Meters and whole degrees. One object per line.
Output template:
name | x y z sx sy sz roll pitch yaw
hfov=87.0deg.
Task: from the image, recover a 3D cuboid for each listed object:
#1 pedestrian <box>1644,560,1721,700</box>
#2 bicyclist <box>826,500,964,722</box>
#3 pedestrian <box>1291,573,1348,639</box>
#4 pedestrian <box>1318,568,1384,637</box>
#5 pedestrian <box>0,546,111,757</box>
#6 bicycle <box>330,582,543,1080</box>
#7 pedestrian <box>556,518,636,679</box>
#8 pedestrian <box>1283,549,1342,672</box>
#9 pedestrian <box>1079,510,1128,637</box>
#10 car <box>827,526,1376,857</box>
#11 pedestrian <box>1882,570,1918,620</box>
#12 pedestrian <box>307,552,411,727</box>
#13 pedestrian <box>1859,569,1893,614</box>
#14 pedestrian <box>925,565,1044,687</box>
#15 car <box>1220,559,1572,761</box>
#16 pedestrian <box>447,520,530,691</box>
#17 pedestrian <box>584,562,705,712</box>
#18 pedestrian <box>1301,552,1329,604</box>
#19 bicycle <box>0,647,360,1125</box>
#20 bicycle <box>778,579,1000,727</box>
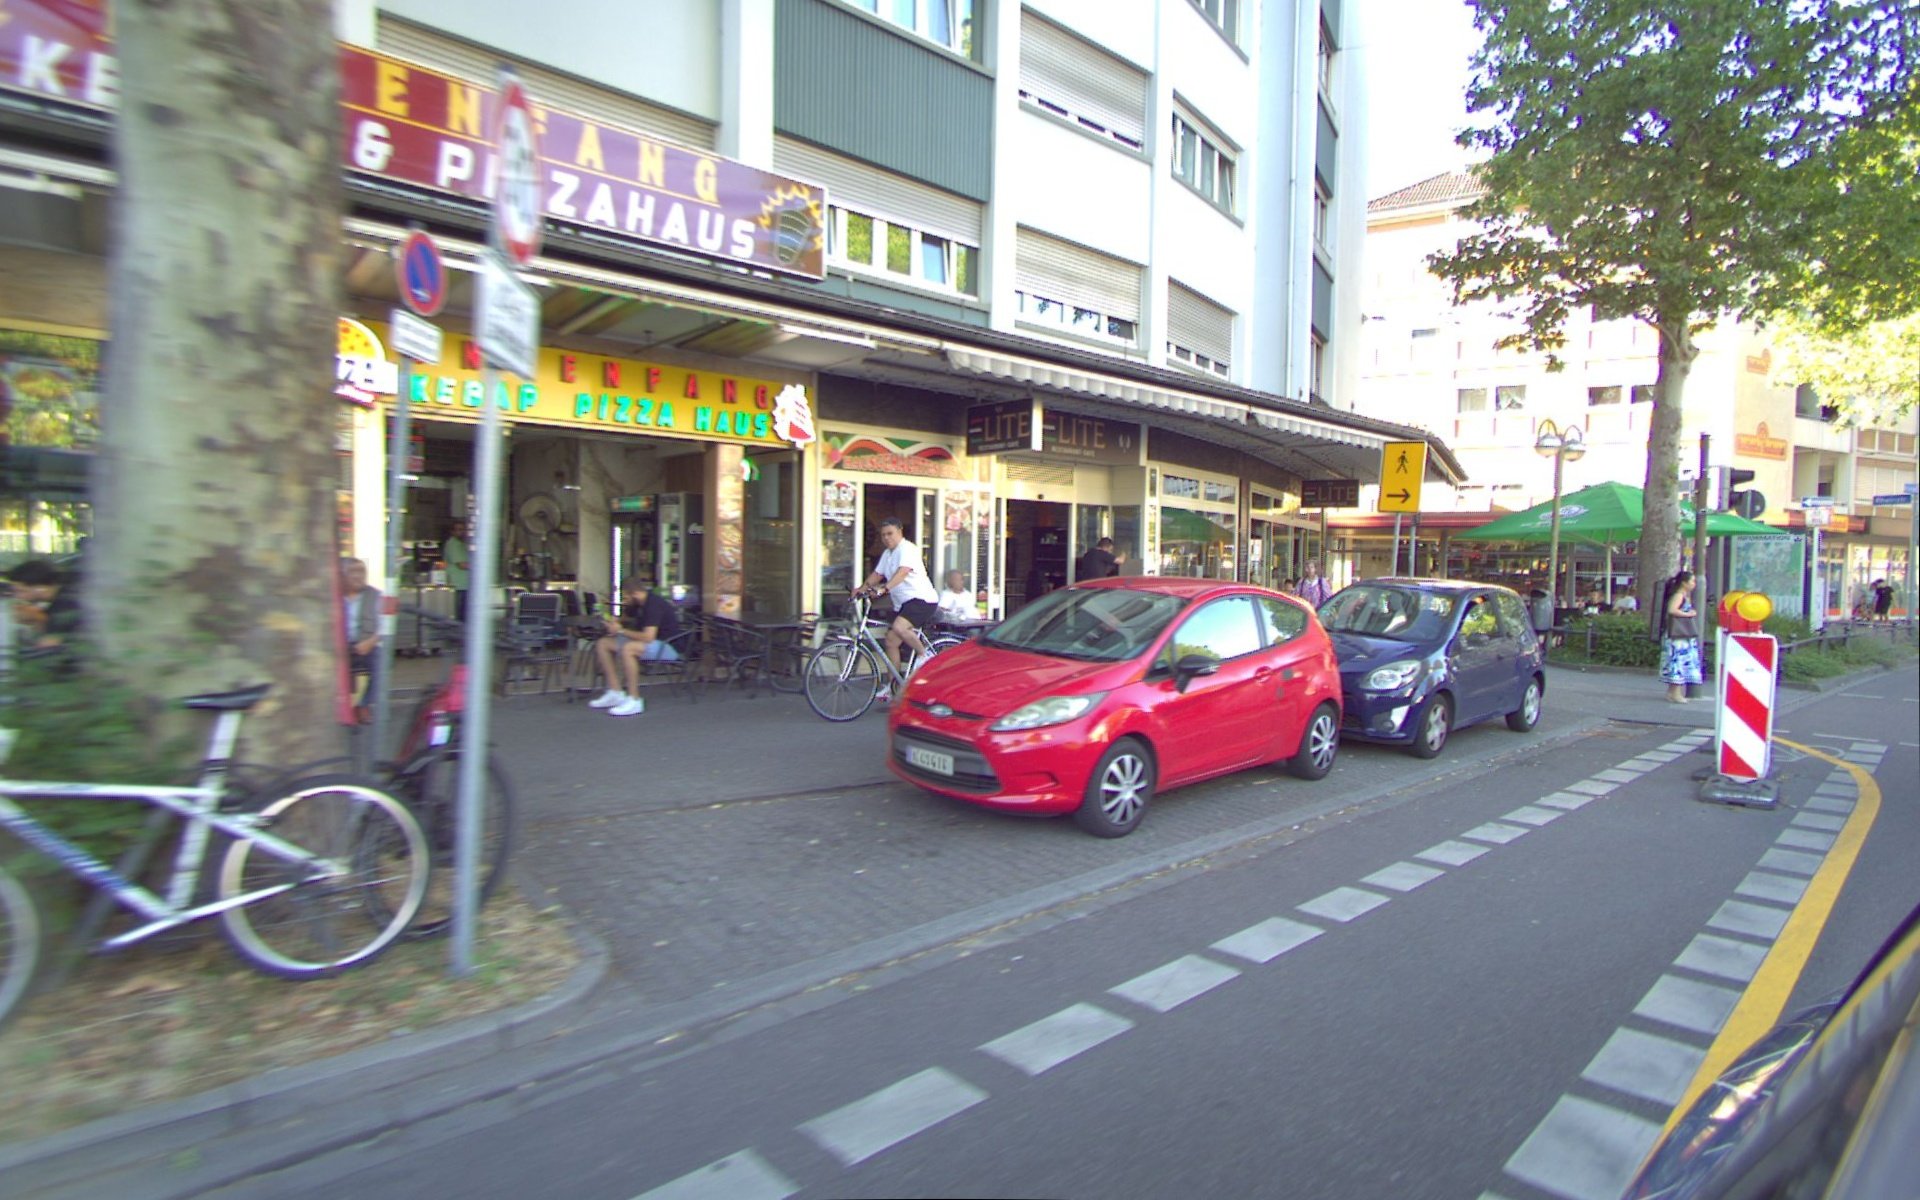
pedestrian | 8.985 0.342 12.578 0.783 1.666 0.583 -2 3 -41
bicyclist | -0.578 0.059 8.976 0.910 1.848 0.753 -1 4 -41
pedestrian | 6.825 0.104 19.219 0.776 1.207 0.648 0 2 -33
pedestrian | 7.065 0.028 18.324 0.685 1.207 0.881 0 2 -17
pedestrian | -5.847 0.303 6.423 0.678 1.260 0.560 0 3 -38
bicycle | -2.045 0.642 4.027 0.543 1.168 2.402 0 7 -26
pedestrian | -3.715 -0.031 10.312 0.588 1.566 0.702 0 2 -37
pedestrian | 4.890 0.125 14.034 0.624 1.657 0.525 2 2 35
pedestrian | 2.082 -0.400 14.694 0.547 1.800 0.395 -2 5 -42
car | 1.150 0.390 7.055 3.760 1.614 1.784 -1 6 -44
pedestrian | 30.538 -0.174 32.891 0.520 1.605 0.630 0 2 -20
pedestrian | -4.635 0.276 7.796 0.550 1.251 0.690 0 4 -42
pedestrian | 30.319 -0.283 33.504 0.520 1.455 0.630 0 2 -20
pedestrian | 0.290 0.269 12.078 0.937 1.352 1.070 -1 2 -41
car | 4.311 0.420 9.803 3.550 1.485 1.770 -1 6 -43
pedestrian | -4.526 0.034 9.707 0.588 1.560 0.702 0 2 -37
pedestrian | -2.794 0.297 8.953 0.798 1.224 0.654 0 4 -43
pedestrian | 13.752 -0.863 39.219 0.635 1.983 0.891 1 2 -6
bicycle | -2.565 0.768 2.902 1.417 1.169 0.555 -1 2 -36
bicycle | -0.599 0.410 8.963 1.853 1.143 0.751 -1 4 -41
